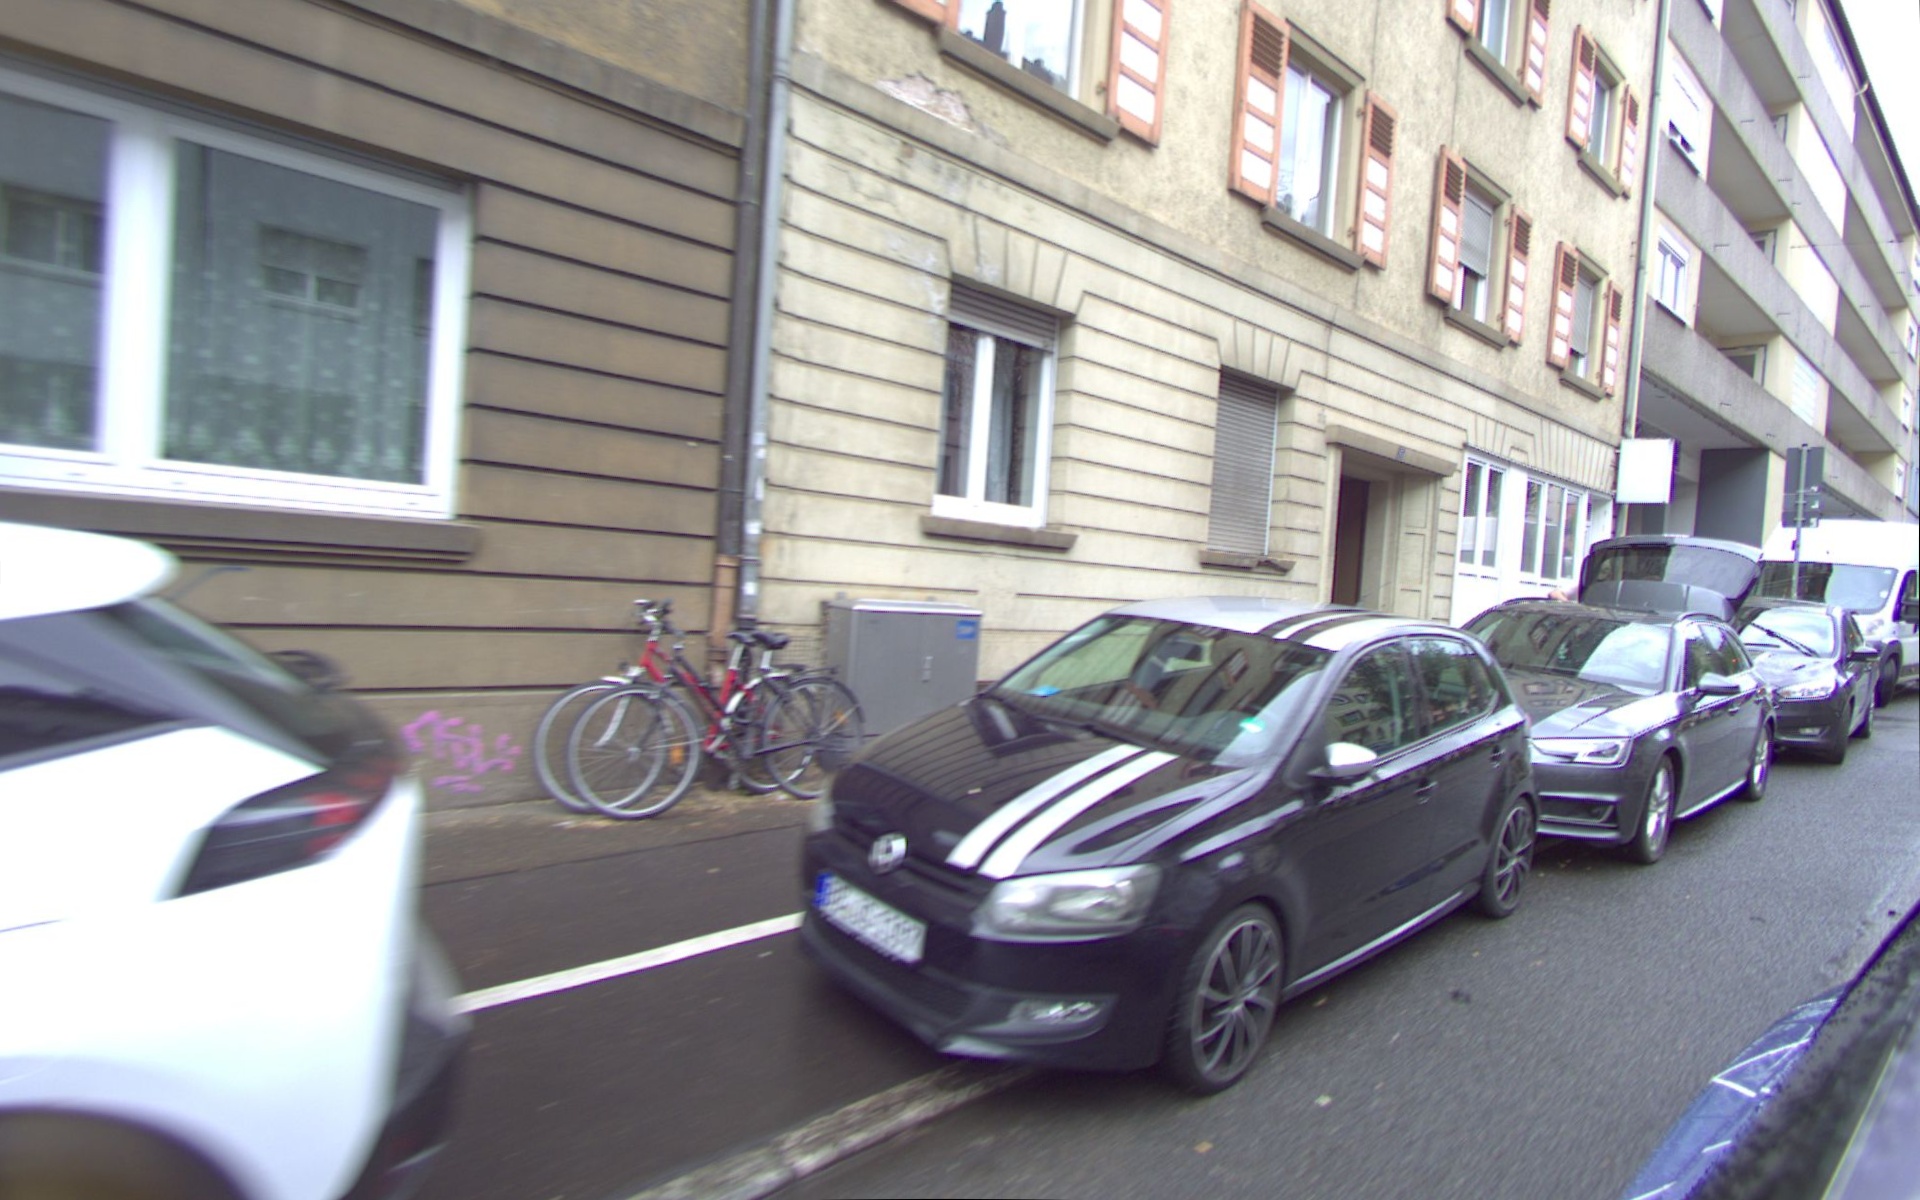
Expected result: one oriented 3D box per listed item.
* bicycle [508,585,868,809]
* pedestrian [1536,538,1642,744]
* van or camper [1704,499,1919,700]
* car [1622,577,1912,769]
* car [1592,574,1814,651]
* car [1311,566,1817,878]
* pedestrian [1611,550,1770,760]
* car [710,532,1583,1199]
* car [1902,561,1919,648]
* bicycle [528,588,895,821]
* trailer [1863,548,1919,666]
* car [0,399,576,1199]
[{"bbox_3d":[-1.461,0.474,5.802,2.069,1.086,0.248,-1,6,-41],"label":"bicycle"},{"bbox_3d":[5.850,0.340,9.463,0.681,1.808,0.706,5,5,30],"label":"pedestrian"},{"bbox_3d":[14.722,-0.057,16.414,6.296,2.732,2.193,1,3,-35],"label":"van or camper"},{"bbox_3d":[8.533,0.593,10.566,4.121,1.497,1.780,0,5,-44],"label":"car"},{"bbox_3d":[17.866,0.233,24.486,1.530,1.408,3.999,0,5,-39],"label":"car"},{"bbox_3d":[4.572,0.606,7.327,4.508,1.497,1.782,0,4,-42],"label":"car"},{"bbox_3d":[6.417,0.473,8.929,0.622,1.708,0.635,4,8,-11],"label":"pedestrian"},{"bbox_3d":[1.037,0.588,4.233,3.672,1.495,1.636,-1,7,-43],"label":"car"},{"bbox_3d":[26.691,0.164,26.648,5.415,2.174,2.158,-1,4,-42],"label":"car"},{"bbox_3d":[-1.282,0.496,5.629,2.069,1.086,0.248,-1,6,-41],"label":"bicycle"},{"bbox_3d":[20.186,0.223,20.397,4.979,2.178,2.000,1,4,-39],"label":"trailer"},{"bbox_3d":[-2.726,0.513,0.895,4.124,1.657,1.635,-1,6,-43],"label":"car"}]
